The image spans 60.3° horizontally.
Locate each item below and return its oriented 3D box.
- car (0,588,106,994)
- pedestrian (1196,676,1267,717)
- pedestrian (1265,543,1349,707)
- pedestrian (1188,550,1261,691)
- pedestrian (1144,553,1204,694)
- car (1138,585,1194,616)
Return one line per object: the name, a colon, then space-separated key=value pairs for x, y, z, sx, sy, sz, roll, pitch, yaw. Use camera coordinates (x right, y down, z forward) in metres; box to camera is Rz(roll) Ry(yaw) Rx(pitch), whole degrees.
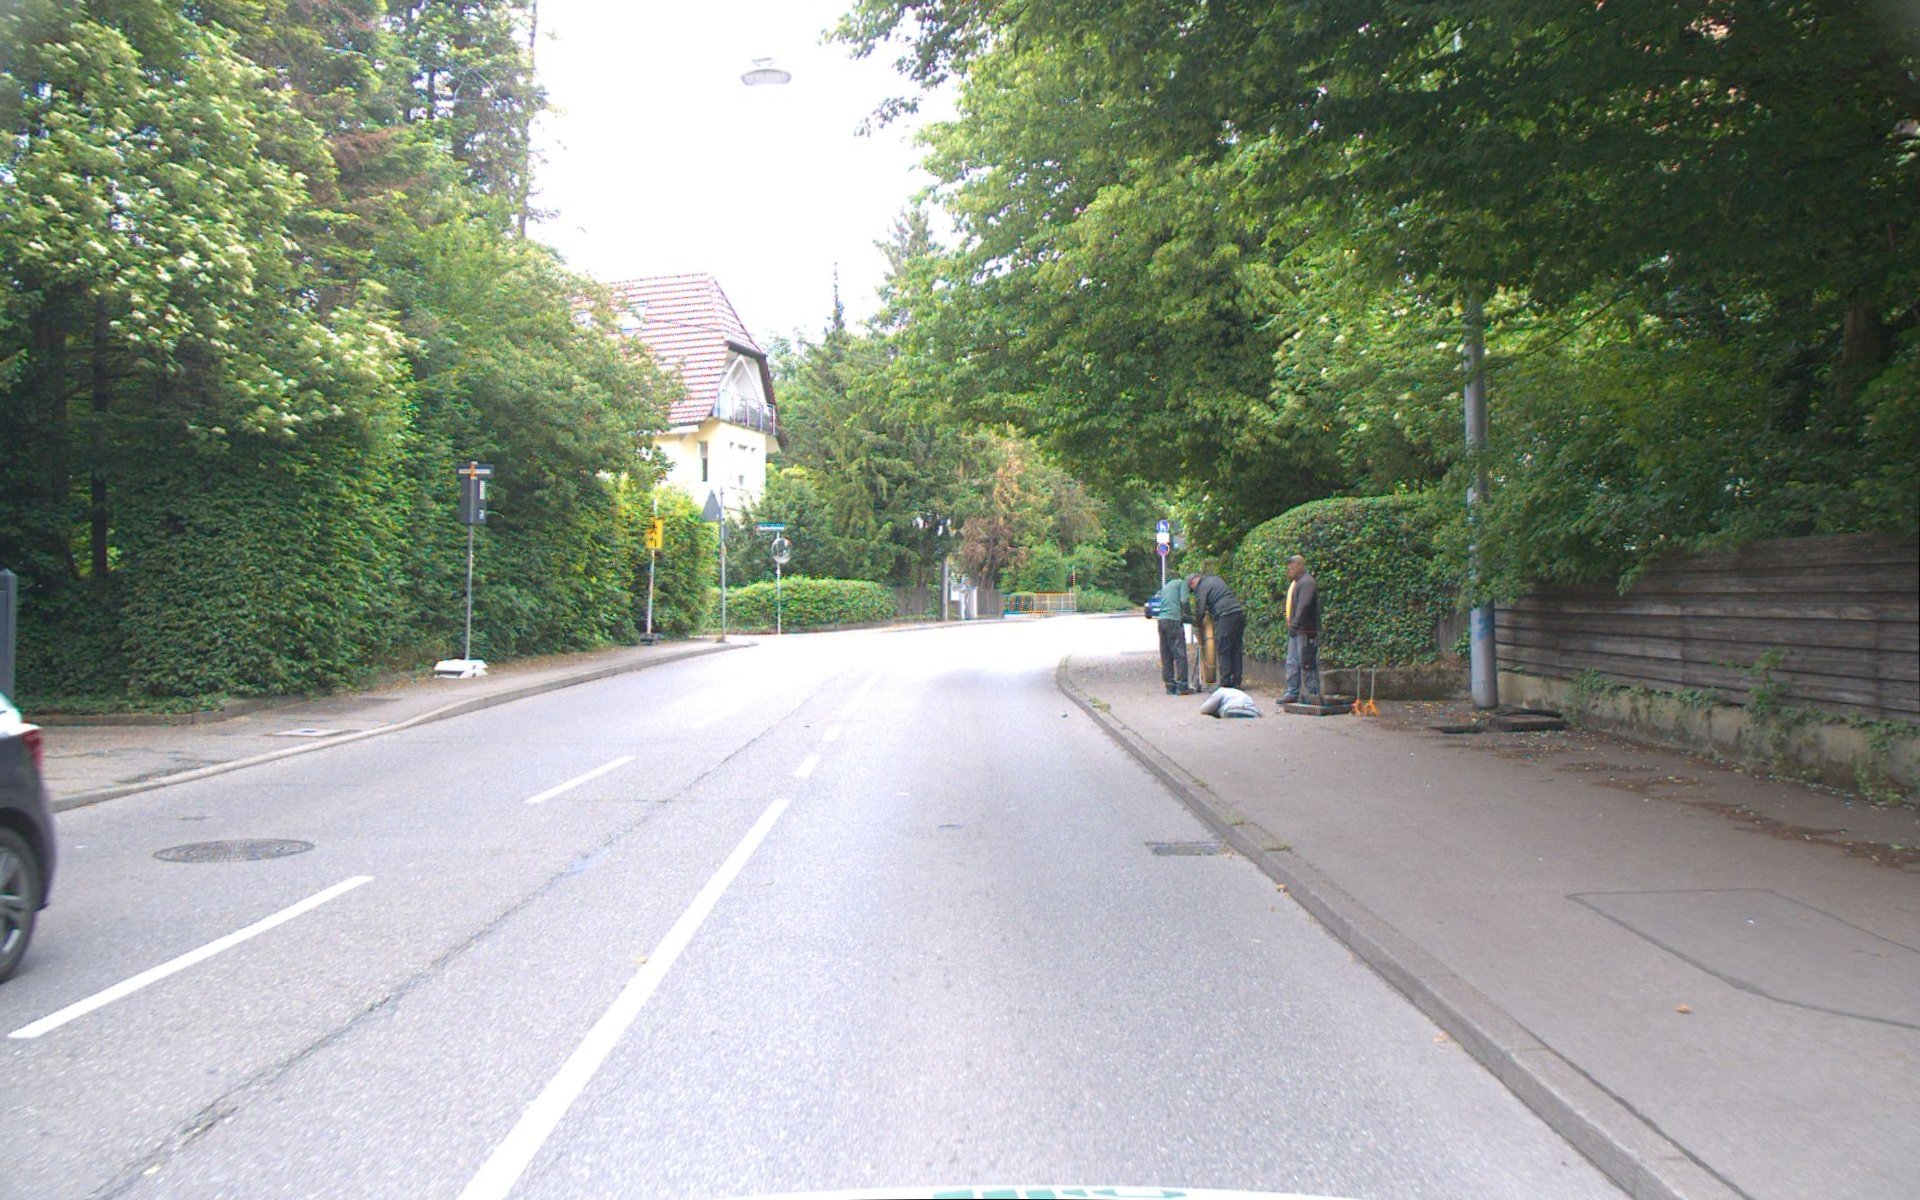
car: x=-4.378 y=0.724 z=4.843 sx=1.646 sy=1.497 sz=4.018 roll=0 pitch=1 yaw=0
pedestrian: x=3.025 y=1.069 z=18.462 sx=0.658 sy=0.400 sz=0.741 roll=-1 pitch=0 yaw=-1
pedestrian: x=3.995 y=0.278 z=19.069 sx=0.790 sy=1.838 sz=0.741 roll=-1 pitch=0 yaw=-1
pedestrian: x=3.522 y=0.259 z=22.007 sx=0.685 sy=1.838 sz=0.663 roll=-1 pitch=0 yaw=-41
pedestrian: x=2.836 y=0.302 z=21.904 sx=0.591 sy=1.838 sz=0.516 roll=-1 pitch=0 yaw=40
car: x=9.856 y=0.013 z=78.950 sx=1.720 sy=1.464 sz=4.094 roll=0 pitch=0 yaw=20
